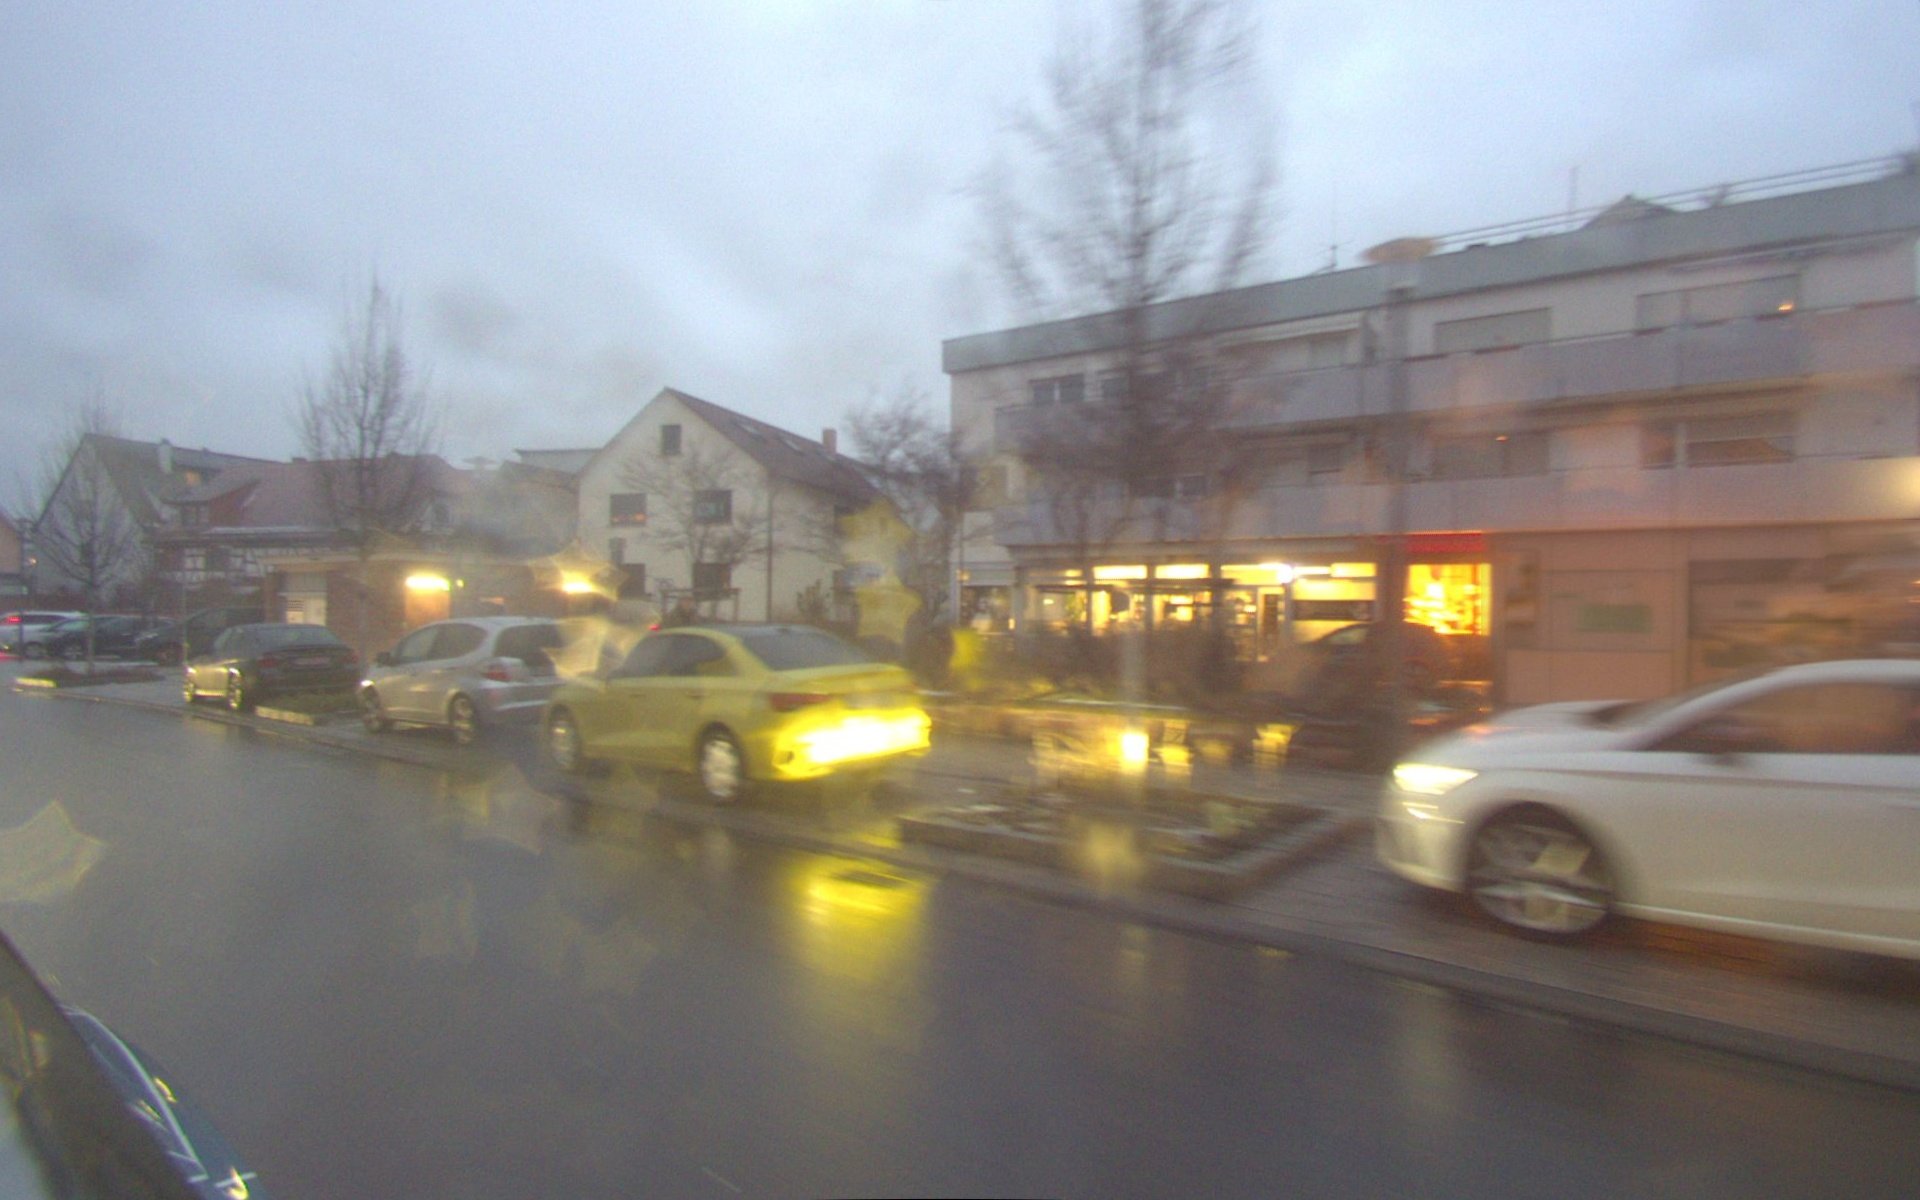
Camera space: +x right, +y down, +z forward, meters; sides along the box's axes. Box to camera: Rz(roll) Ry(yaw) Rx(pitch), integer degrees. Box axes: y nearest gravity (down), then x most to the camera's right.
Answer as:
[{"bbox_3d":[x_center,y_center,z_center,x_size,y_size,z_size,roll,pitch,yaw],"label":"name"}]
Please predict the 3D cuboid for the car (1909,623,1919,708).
[{"bbox_3d":[21.262,1.383,20.593,1.993,1.858,3.957,-1,-3,31],"label":"car"}]

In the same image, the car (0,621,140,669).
[{"bbox_3d":[-32.237,1.579,36.665,3.936,1.559,2.004,-1,0,-39],"label":"car"}]

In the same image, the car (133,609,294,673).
[{"bbox_3d":[-23.158,1.217,31.538,3.934,1.776,1.437,-1,0,-35],"label":"car"}]

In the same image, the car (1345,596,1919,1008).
[{"bbox_3d":[4.087,0.737,4.372,4.180,1.500,1.766,-1,0,41],"label":"car"}]

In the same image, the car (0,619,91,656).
[{"bbox_3d":[-35.142,1.390,37.821,3.940,1.309,2.002,-1,-1,-44],"label":"car"}]

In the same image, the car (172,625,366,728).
[{"bbox_3d":[-12.169,1.237,17.724,4.136,1.546,1.816,-1,-1,41],"label":"car"}]

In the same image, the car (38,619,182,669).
[{"bbox_3d":[-29.727,1.491,35.474,3.785,1.557,2.003,-1,-1,-42],"label":"car"}]

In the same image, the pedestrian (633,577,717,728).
[{"bbox_3d":[-4.004,0.718,14.190,0.889,2.029,0.792,1,-2,-40],"label":"pedestrian"}]

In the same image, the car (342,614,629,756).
[{"bbox_3d":[-6.187,0.980,13.092,3.665,1.546,1.858,-1,0,37],"label":"car"}]

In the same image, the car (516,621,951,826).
[{"bbox_3d":[-2.274,0.953,9.381,4.375,1.442,1.676,-2,-1,41],"label":"car"}]

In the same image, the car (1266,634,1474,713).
[{"bbox_3d":[9.070,1.559,22.486,3.989,1.576,1.977,-1,-3,34],"label":"car"}]
